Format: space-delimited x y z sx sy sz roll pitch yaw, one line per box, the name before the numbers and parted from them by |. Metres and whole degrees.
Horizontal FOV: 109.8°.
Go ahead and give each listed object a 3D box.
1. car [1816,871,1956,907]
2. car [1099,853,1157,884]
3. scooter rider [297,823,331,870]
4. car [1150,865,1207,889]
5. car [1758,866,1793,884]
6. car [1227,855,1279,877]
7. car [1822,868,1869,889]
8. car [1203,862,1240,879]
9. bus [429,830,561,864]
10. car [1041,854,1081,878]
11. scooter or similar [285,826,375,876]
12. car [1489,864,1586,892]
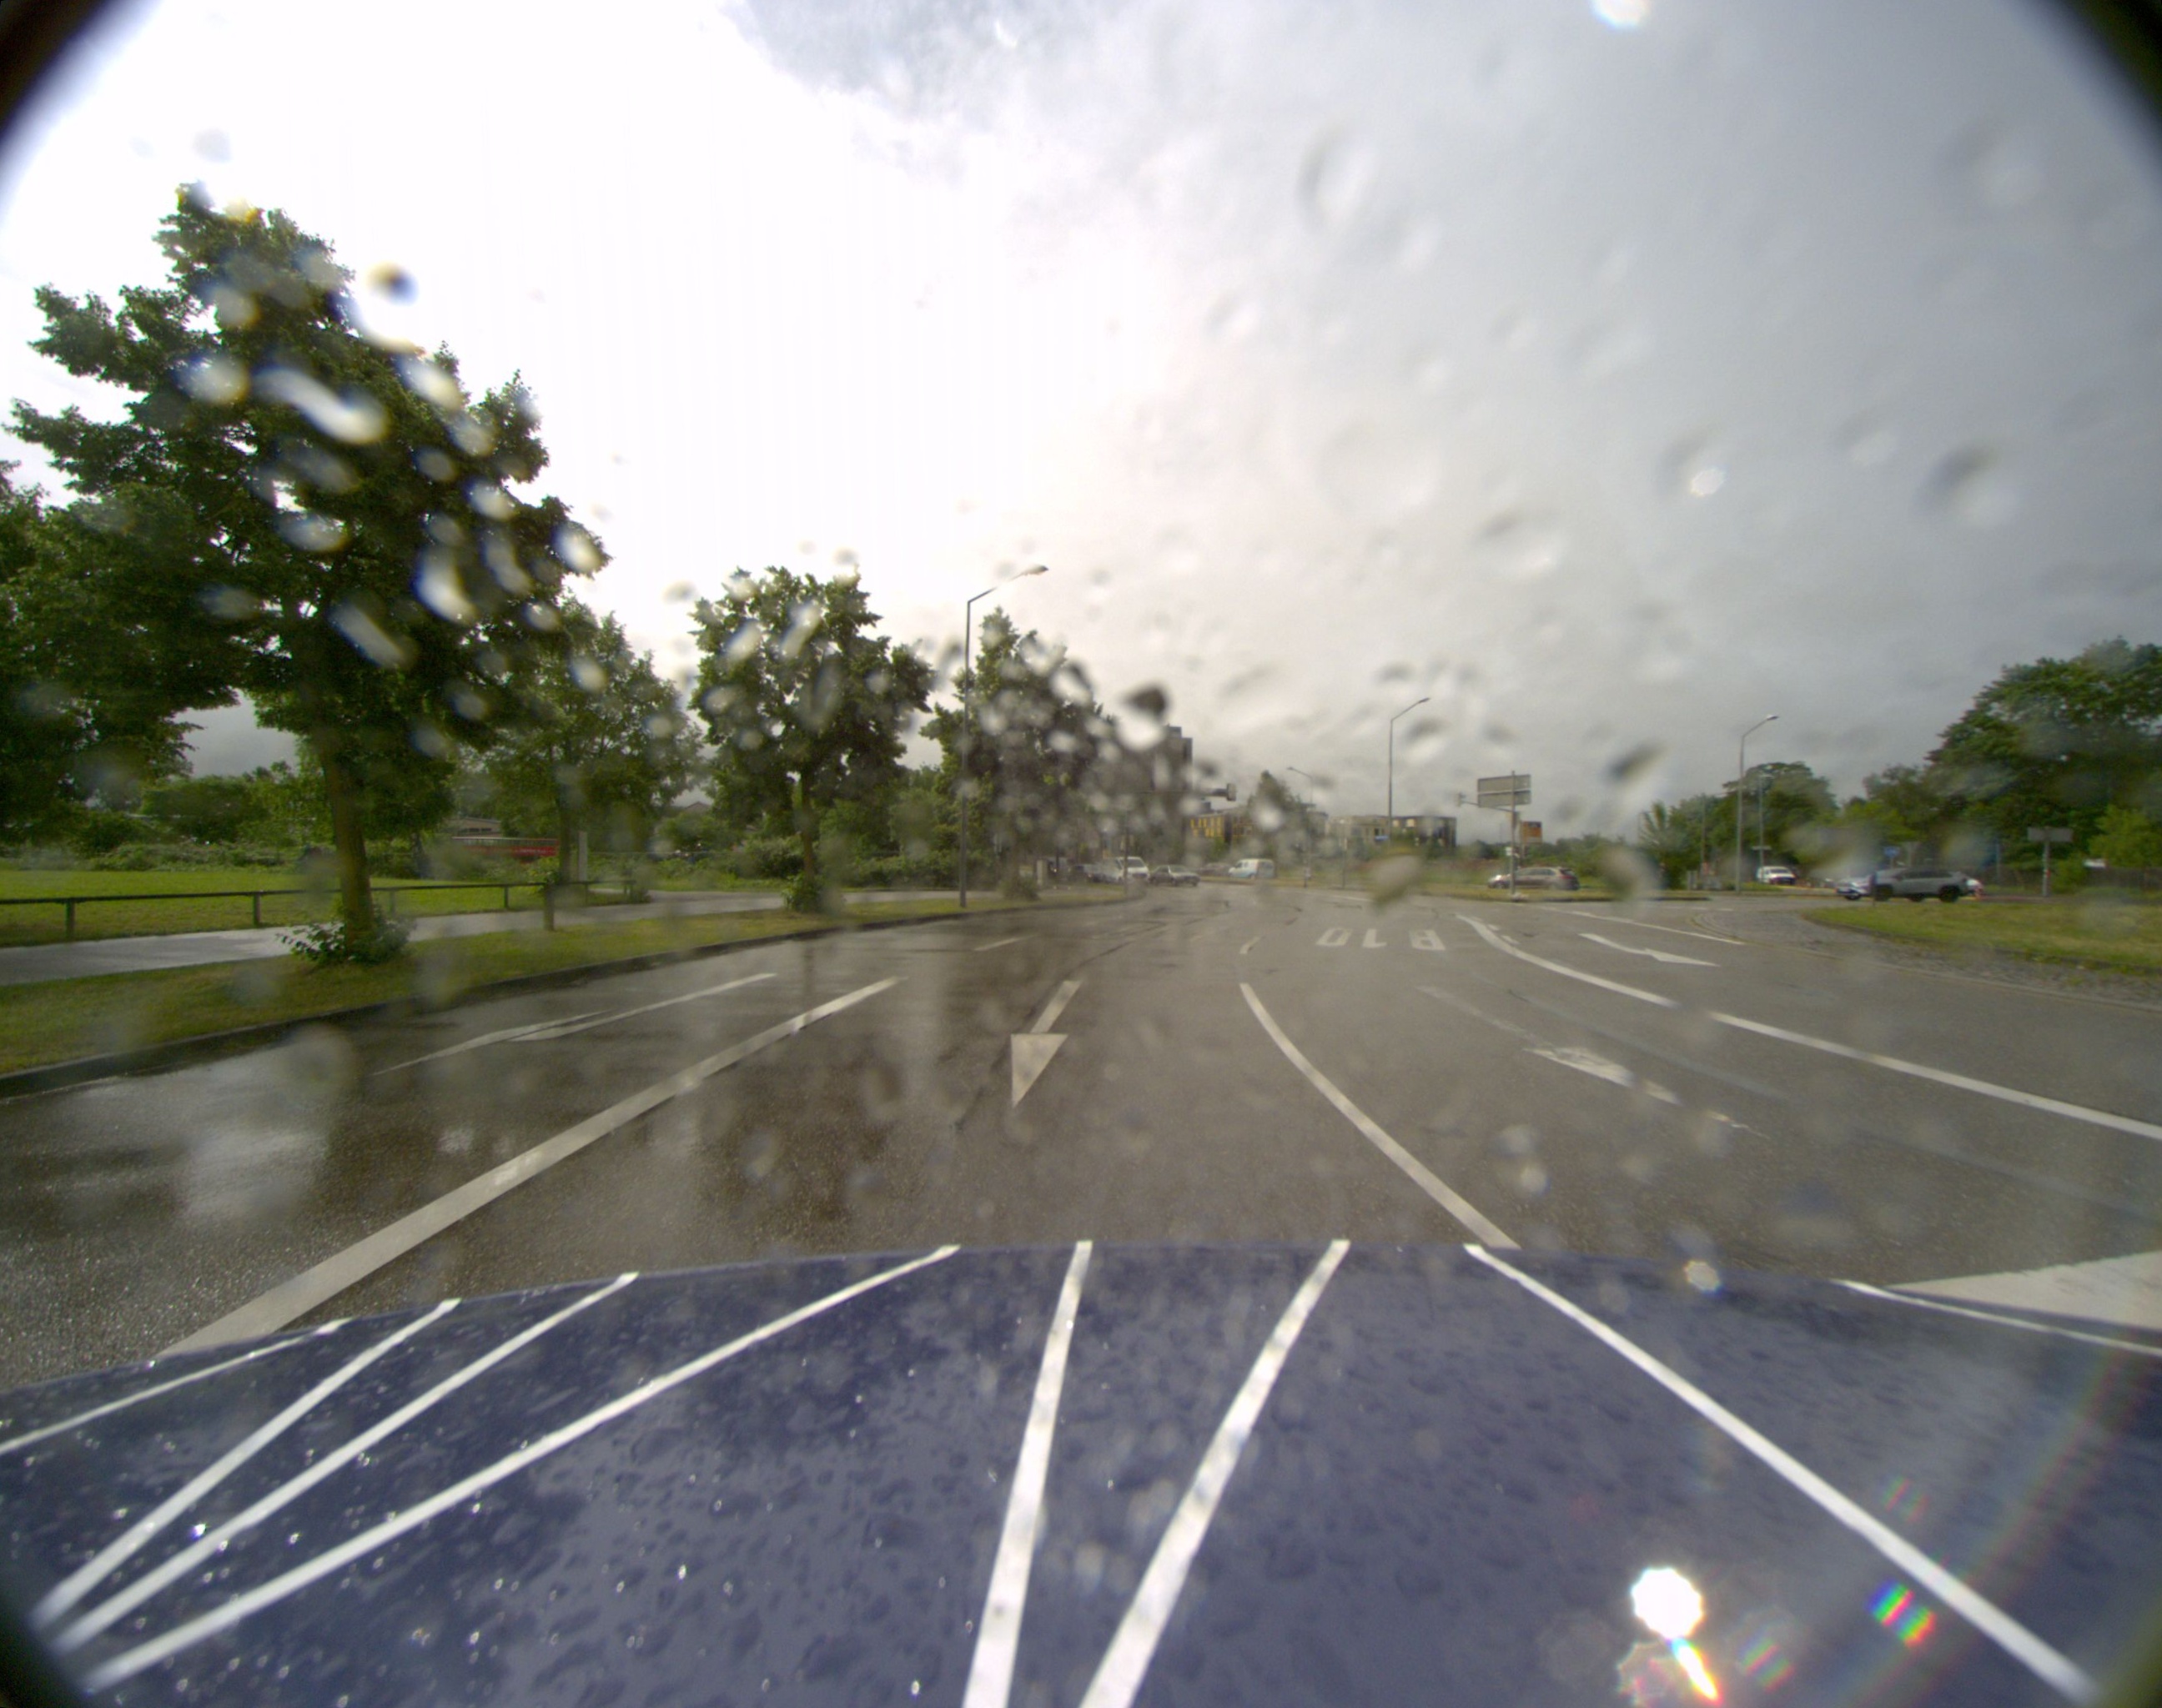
car | 39.176 1.675 37.073 4.476 1.653 1.877 0 -1 9
car | 3.086 0.978 51.402 2.081 1.975 4.792 1 -1 -21
scooter rider | -33.125 -0.319 32.816 0.769 2.001 0.707 -1 0 14
car | 6.505 1.501 51.300 1.869 1.372 4.543 -1 1 -21
car | 68.389 2.064 74.873 1.870 1.653 4.493 2 0 33
car | 14.016 0.973 62.322 1.870 1.752 4.543 1 -1 -22
car | 63.933 2.068 63.619 1.870 1.653 4.494 2 -1 33
car | 14.113 1.652 76.522 1.876 1.647 4.494 2 0 -14
bus | -62.346 -0.784 81.242 11.003 3.439 1.996 -1 0 -30
car | -1.786 1.041 65.325 2.080 1.975 4.792 1 -1 -19
scooter or similar | -32.115 -0.094 32.492 3.402 2.001 1.241 -1 0 17
car | 24.342 1.270 40.621 1.739 1.404 4.116 1 -2 -40
